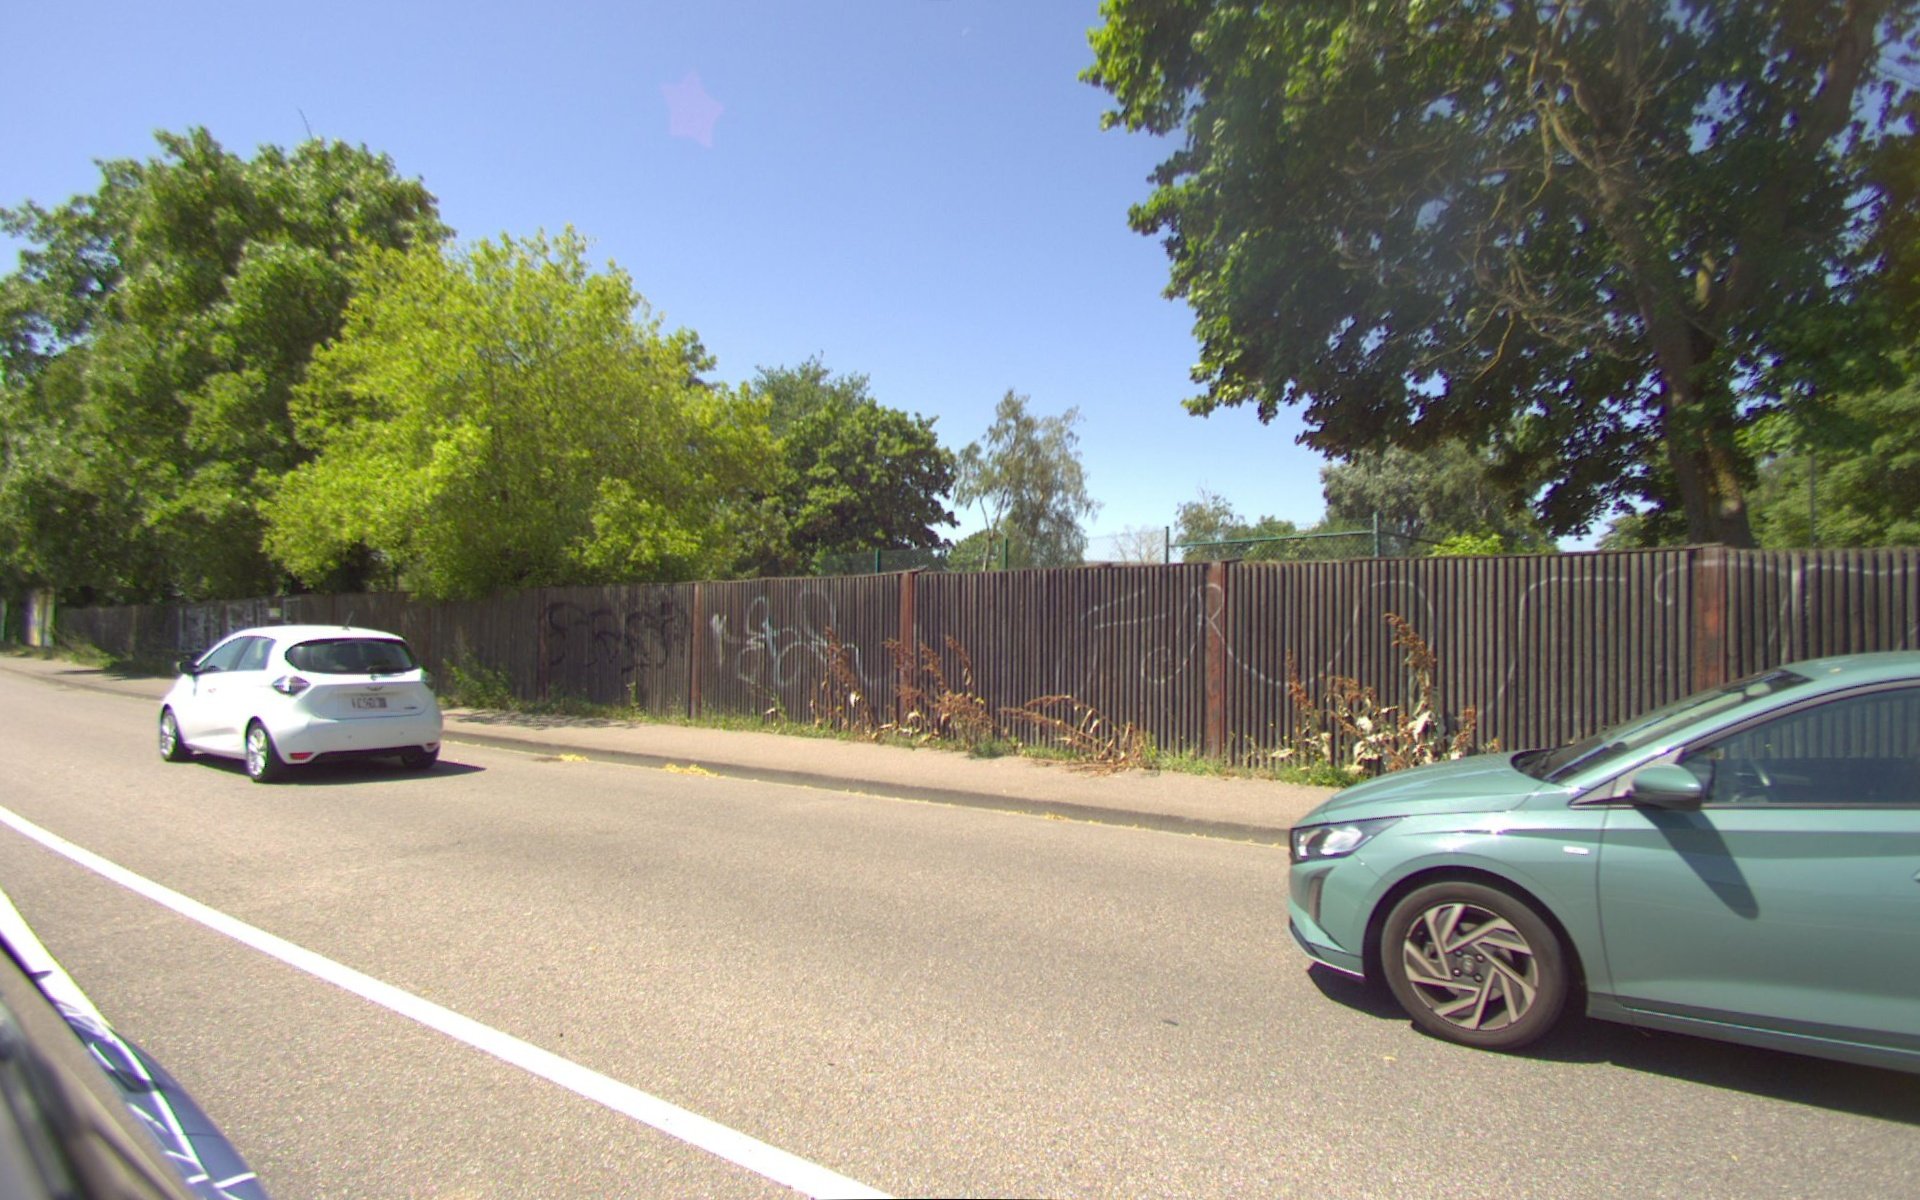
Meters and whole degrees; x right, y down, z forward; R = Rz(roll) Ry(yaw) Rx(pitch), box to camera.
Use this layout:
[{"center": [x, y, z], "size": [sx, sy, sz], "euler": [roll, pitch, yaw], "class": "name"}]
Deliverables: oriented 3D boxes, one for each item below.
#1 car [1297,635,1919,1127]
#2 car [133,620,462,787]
[{"center": [3.559, 0.819, 3.362], "size": [4.322, 1.382, 1.731], "euler": [-1, -2, 36], "class": "car"}, {"center": [-7.367, 1.005, 11.158], "size": [3.864, 1.539, 1.760], "euler": [-1, -2, 36], "class": "car"}]
